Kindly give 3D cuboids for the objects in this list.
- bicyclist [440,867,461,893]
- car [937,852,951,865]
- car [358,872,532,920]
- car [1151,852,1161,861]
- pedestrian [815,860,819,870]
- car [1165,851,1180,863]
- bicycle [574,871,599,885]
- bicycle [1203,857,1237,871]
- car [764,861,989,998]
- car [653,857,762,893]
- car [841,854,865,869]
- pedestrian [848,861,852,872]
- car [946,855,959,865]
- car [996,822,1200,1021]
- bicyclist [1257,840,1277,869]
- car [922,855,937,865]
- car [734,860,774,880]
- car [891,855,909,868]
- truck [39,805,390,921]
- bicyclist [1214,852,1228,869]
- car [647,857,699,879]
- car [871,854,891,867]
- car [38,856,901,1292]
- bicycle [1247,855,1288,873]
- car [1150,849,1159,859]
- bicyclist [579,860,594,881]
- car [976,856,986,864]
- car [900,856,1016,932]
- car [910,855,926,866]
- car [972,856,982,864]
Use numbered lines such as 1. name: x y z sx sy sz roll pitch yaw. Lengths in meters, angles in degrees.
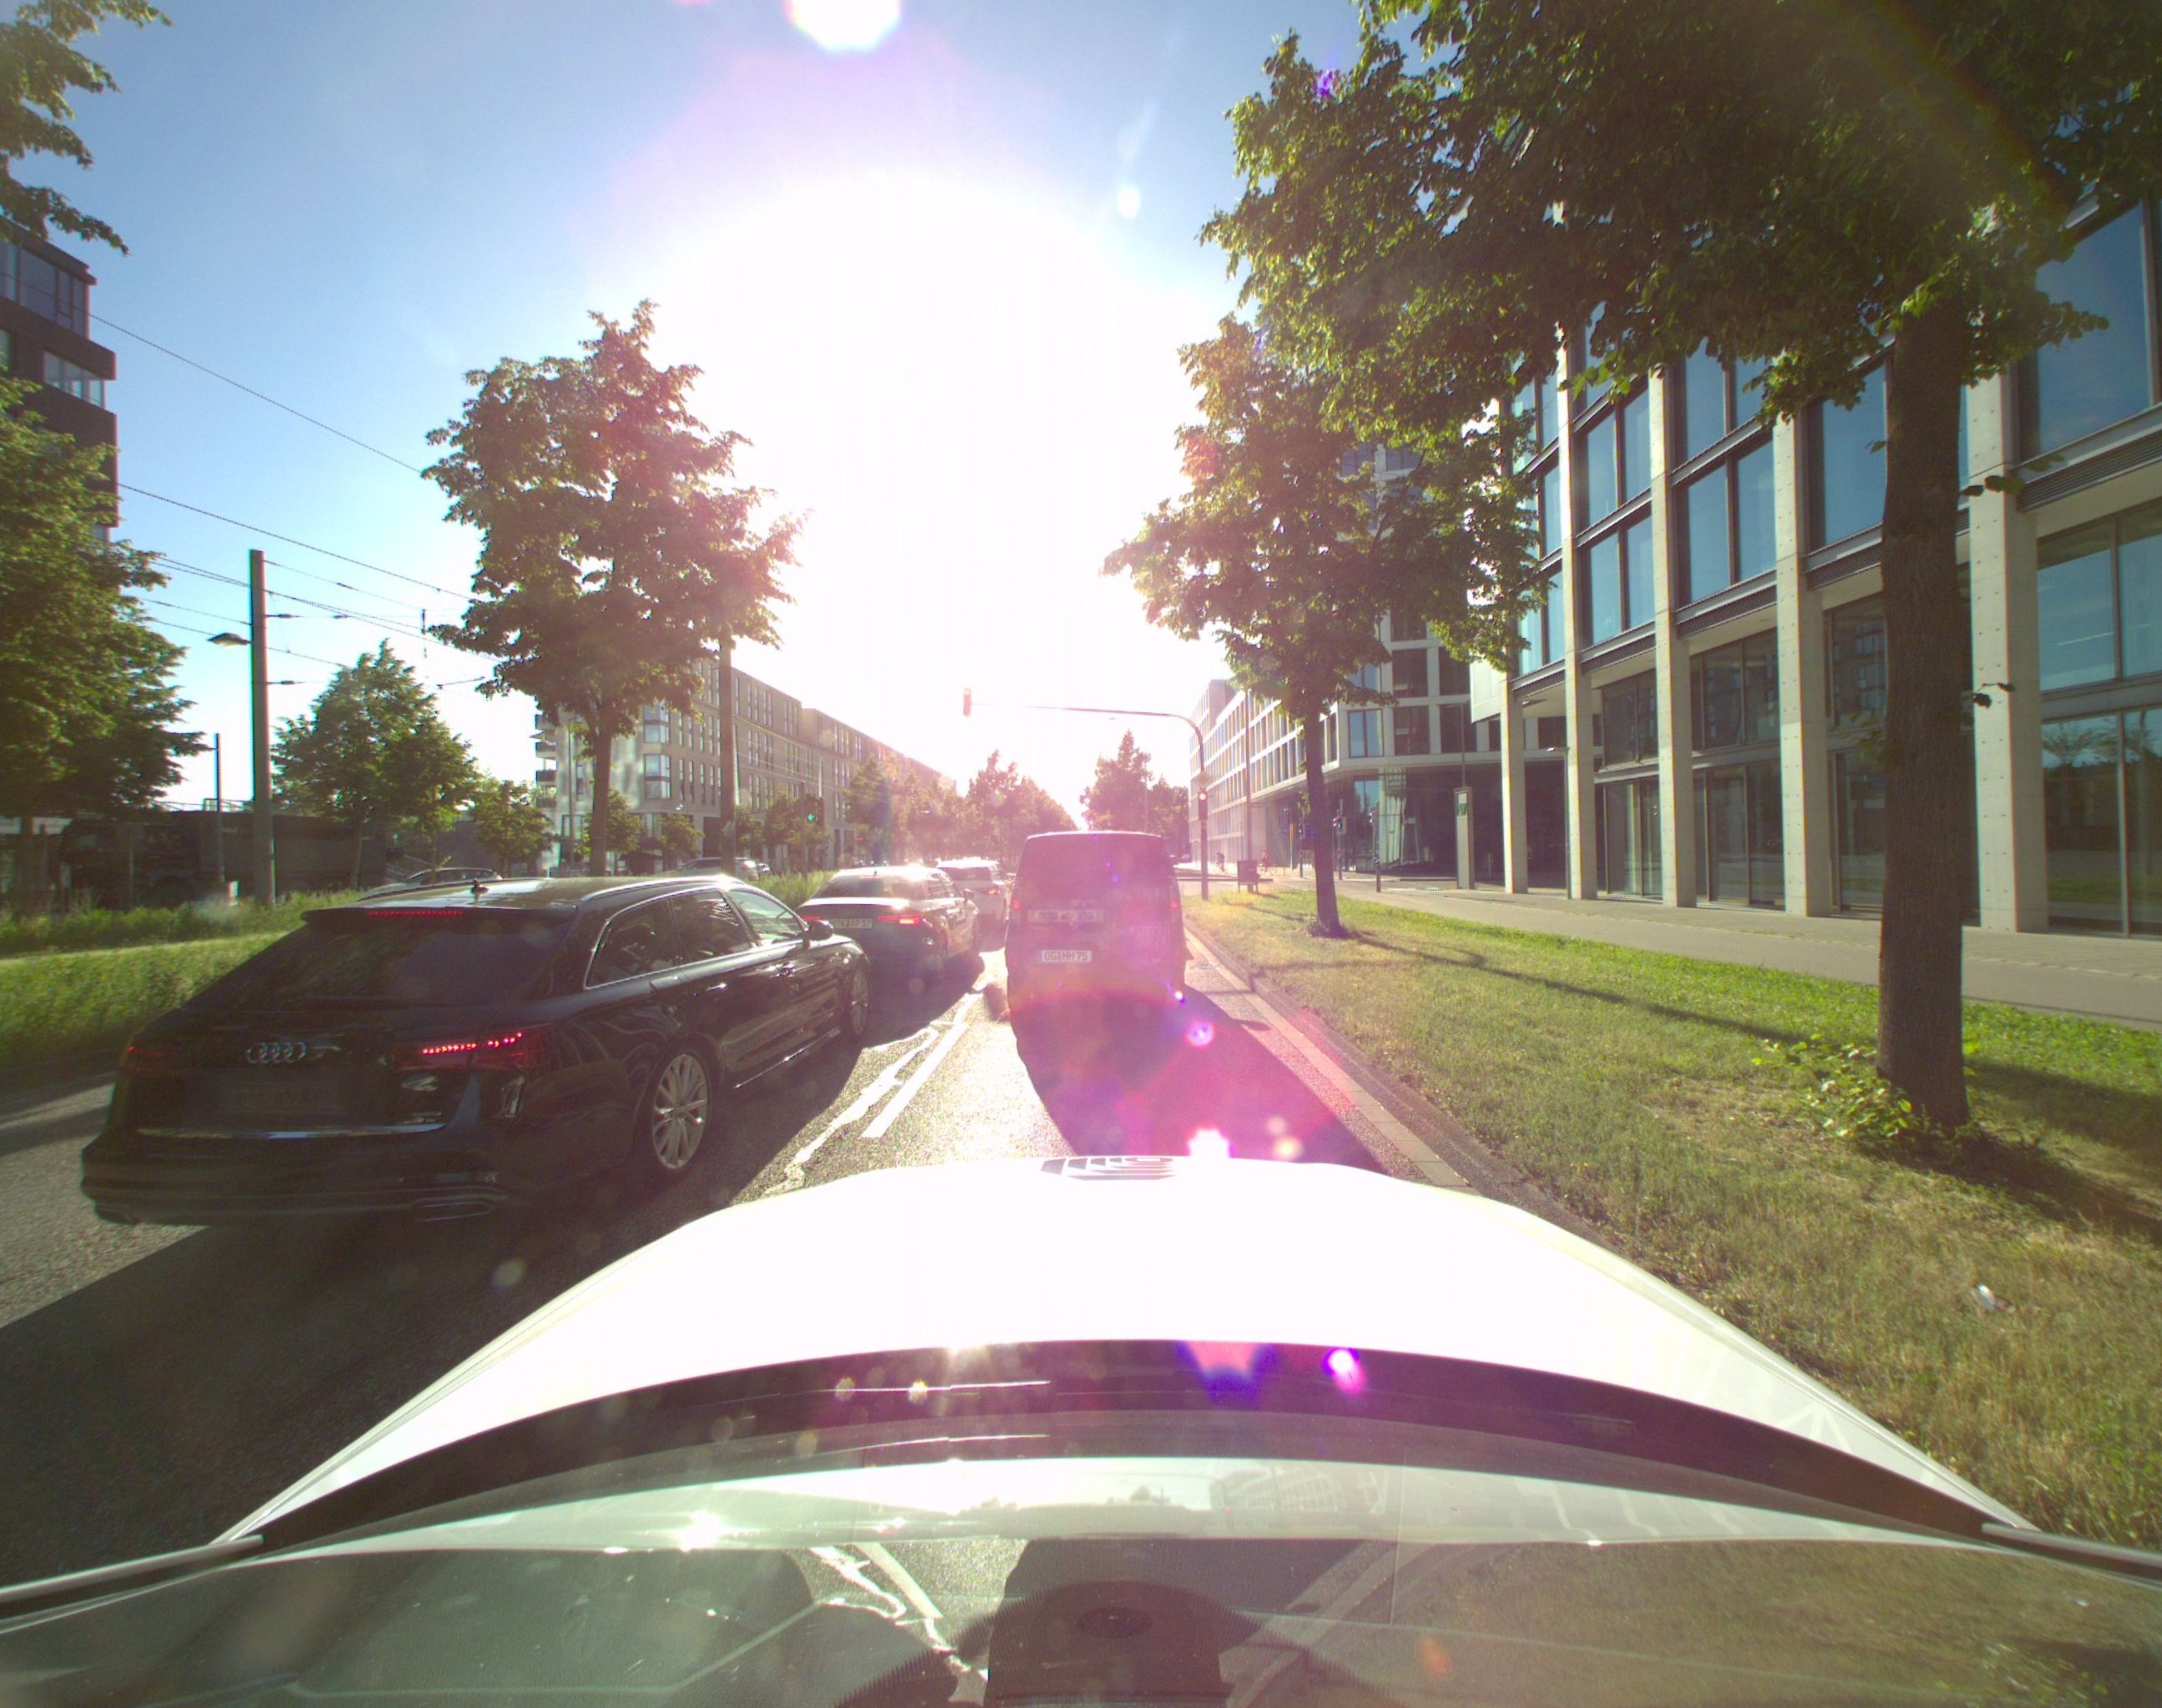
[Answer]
1. bicyclist: -35.683 1.455 46.083 0.475 1.424 0.821 -1 0 2
2. car: -28.430 0.959 169.288 1.986 2.607 4.002 -1 0 2
3. car: -22.767 1.449 29.381 1.783 1.447 4.594 -1 0 24
4. car: 16.512 0.542 179.676 1.986 1.782 4.002 -1 0 2
5. pedestrian: -37.429 1.543 115.370 0.460 1.438 0.389 -1 0 5
6. car: 14.325 0.429 127.700 1.986 1.782 4.002 -1 0 2
7. bicycle: -37.989 1.847 62.577 0.674 0.988 1.957 -1 0 2
8. bicycle: 10.826 0.784 63.433 0.824 1.114 2.815 -1 0 -35
9. car: -2.489 0.846 11.103 1.835 1.426 4.340 -1 0 2
10. car: -16.789 0.914 36.775 4.202 1.492 1.514 -1 0 -11
11. car: -30.877 0.985 110.592 1.986 2.013 4.002 -1 0 2
12. pedestrian: -38.942 2.084 137.447 0.466 1.744 0.480 -1 0 1
13. car: -28.895 1.322 183.362 1.986 2.013 4.002 -1 0 2
14. car: 0.216 0.611 9.427 1.835 1.780 4.002 -1 0 2
15. bicyclist: 12.730 0.036 55.834 0.821 1.947 0.991 -1 0 -34
16. car: -29.690 1.182 159.379 1.986 2.013 4.002 -1 0 2
17. car: -31.794 1.533 79.243 1.986 1.814 4.372 -1 0 2
18. car: -30.581 1.270 137.454 1.986 2.013 4.002 -1 0 2
19. truck: -33.627 0.290 32.644 2.880 3.853 10.217 -1 0 2
20. bicyclist: 10.888 0.503 63.322 0.824 1.275 0.675 -1 0 -35
21. car: -31.041 1.037 62.071 1.758 1.520 4.002 -1 0 2
22. car: -30.751 0.982 125.138 1.986 2.013 4.002 -1 0 2
23. car: -2.720 0.787 5.374 1.868 1.484 4.967 -1 0 1
24. bicycle: 12.759 0.673 55.815 0.821 1.190 2.920 -1 0 -34
25. car: 17.897 0.022 198.177 1.986 2.497 4.988 -1 0 2
26. bicyclist: -37.976 1.262 62.600 0.674 1.529 0.714 -1 0 1
27. car: -27.437 1.561 223.811 1.986 2.013 4.002 -1 0 2
28. car: -2.549 0.785 17.766 1.797 1.426 3.902 -1 0 2
29. car: -30.102 1.126 150.282 1.986 2.013 4.002 -1 0 2
30. car: -27.894 1.523 218.194 1.986 2.013 4.002 -1 0 2
